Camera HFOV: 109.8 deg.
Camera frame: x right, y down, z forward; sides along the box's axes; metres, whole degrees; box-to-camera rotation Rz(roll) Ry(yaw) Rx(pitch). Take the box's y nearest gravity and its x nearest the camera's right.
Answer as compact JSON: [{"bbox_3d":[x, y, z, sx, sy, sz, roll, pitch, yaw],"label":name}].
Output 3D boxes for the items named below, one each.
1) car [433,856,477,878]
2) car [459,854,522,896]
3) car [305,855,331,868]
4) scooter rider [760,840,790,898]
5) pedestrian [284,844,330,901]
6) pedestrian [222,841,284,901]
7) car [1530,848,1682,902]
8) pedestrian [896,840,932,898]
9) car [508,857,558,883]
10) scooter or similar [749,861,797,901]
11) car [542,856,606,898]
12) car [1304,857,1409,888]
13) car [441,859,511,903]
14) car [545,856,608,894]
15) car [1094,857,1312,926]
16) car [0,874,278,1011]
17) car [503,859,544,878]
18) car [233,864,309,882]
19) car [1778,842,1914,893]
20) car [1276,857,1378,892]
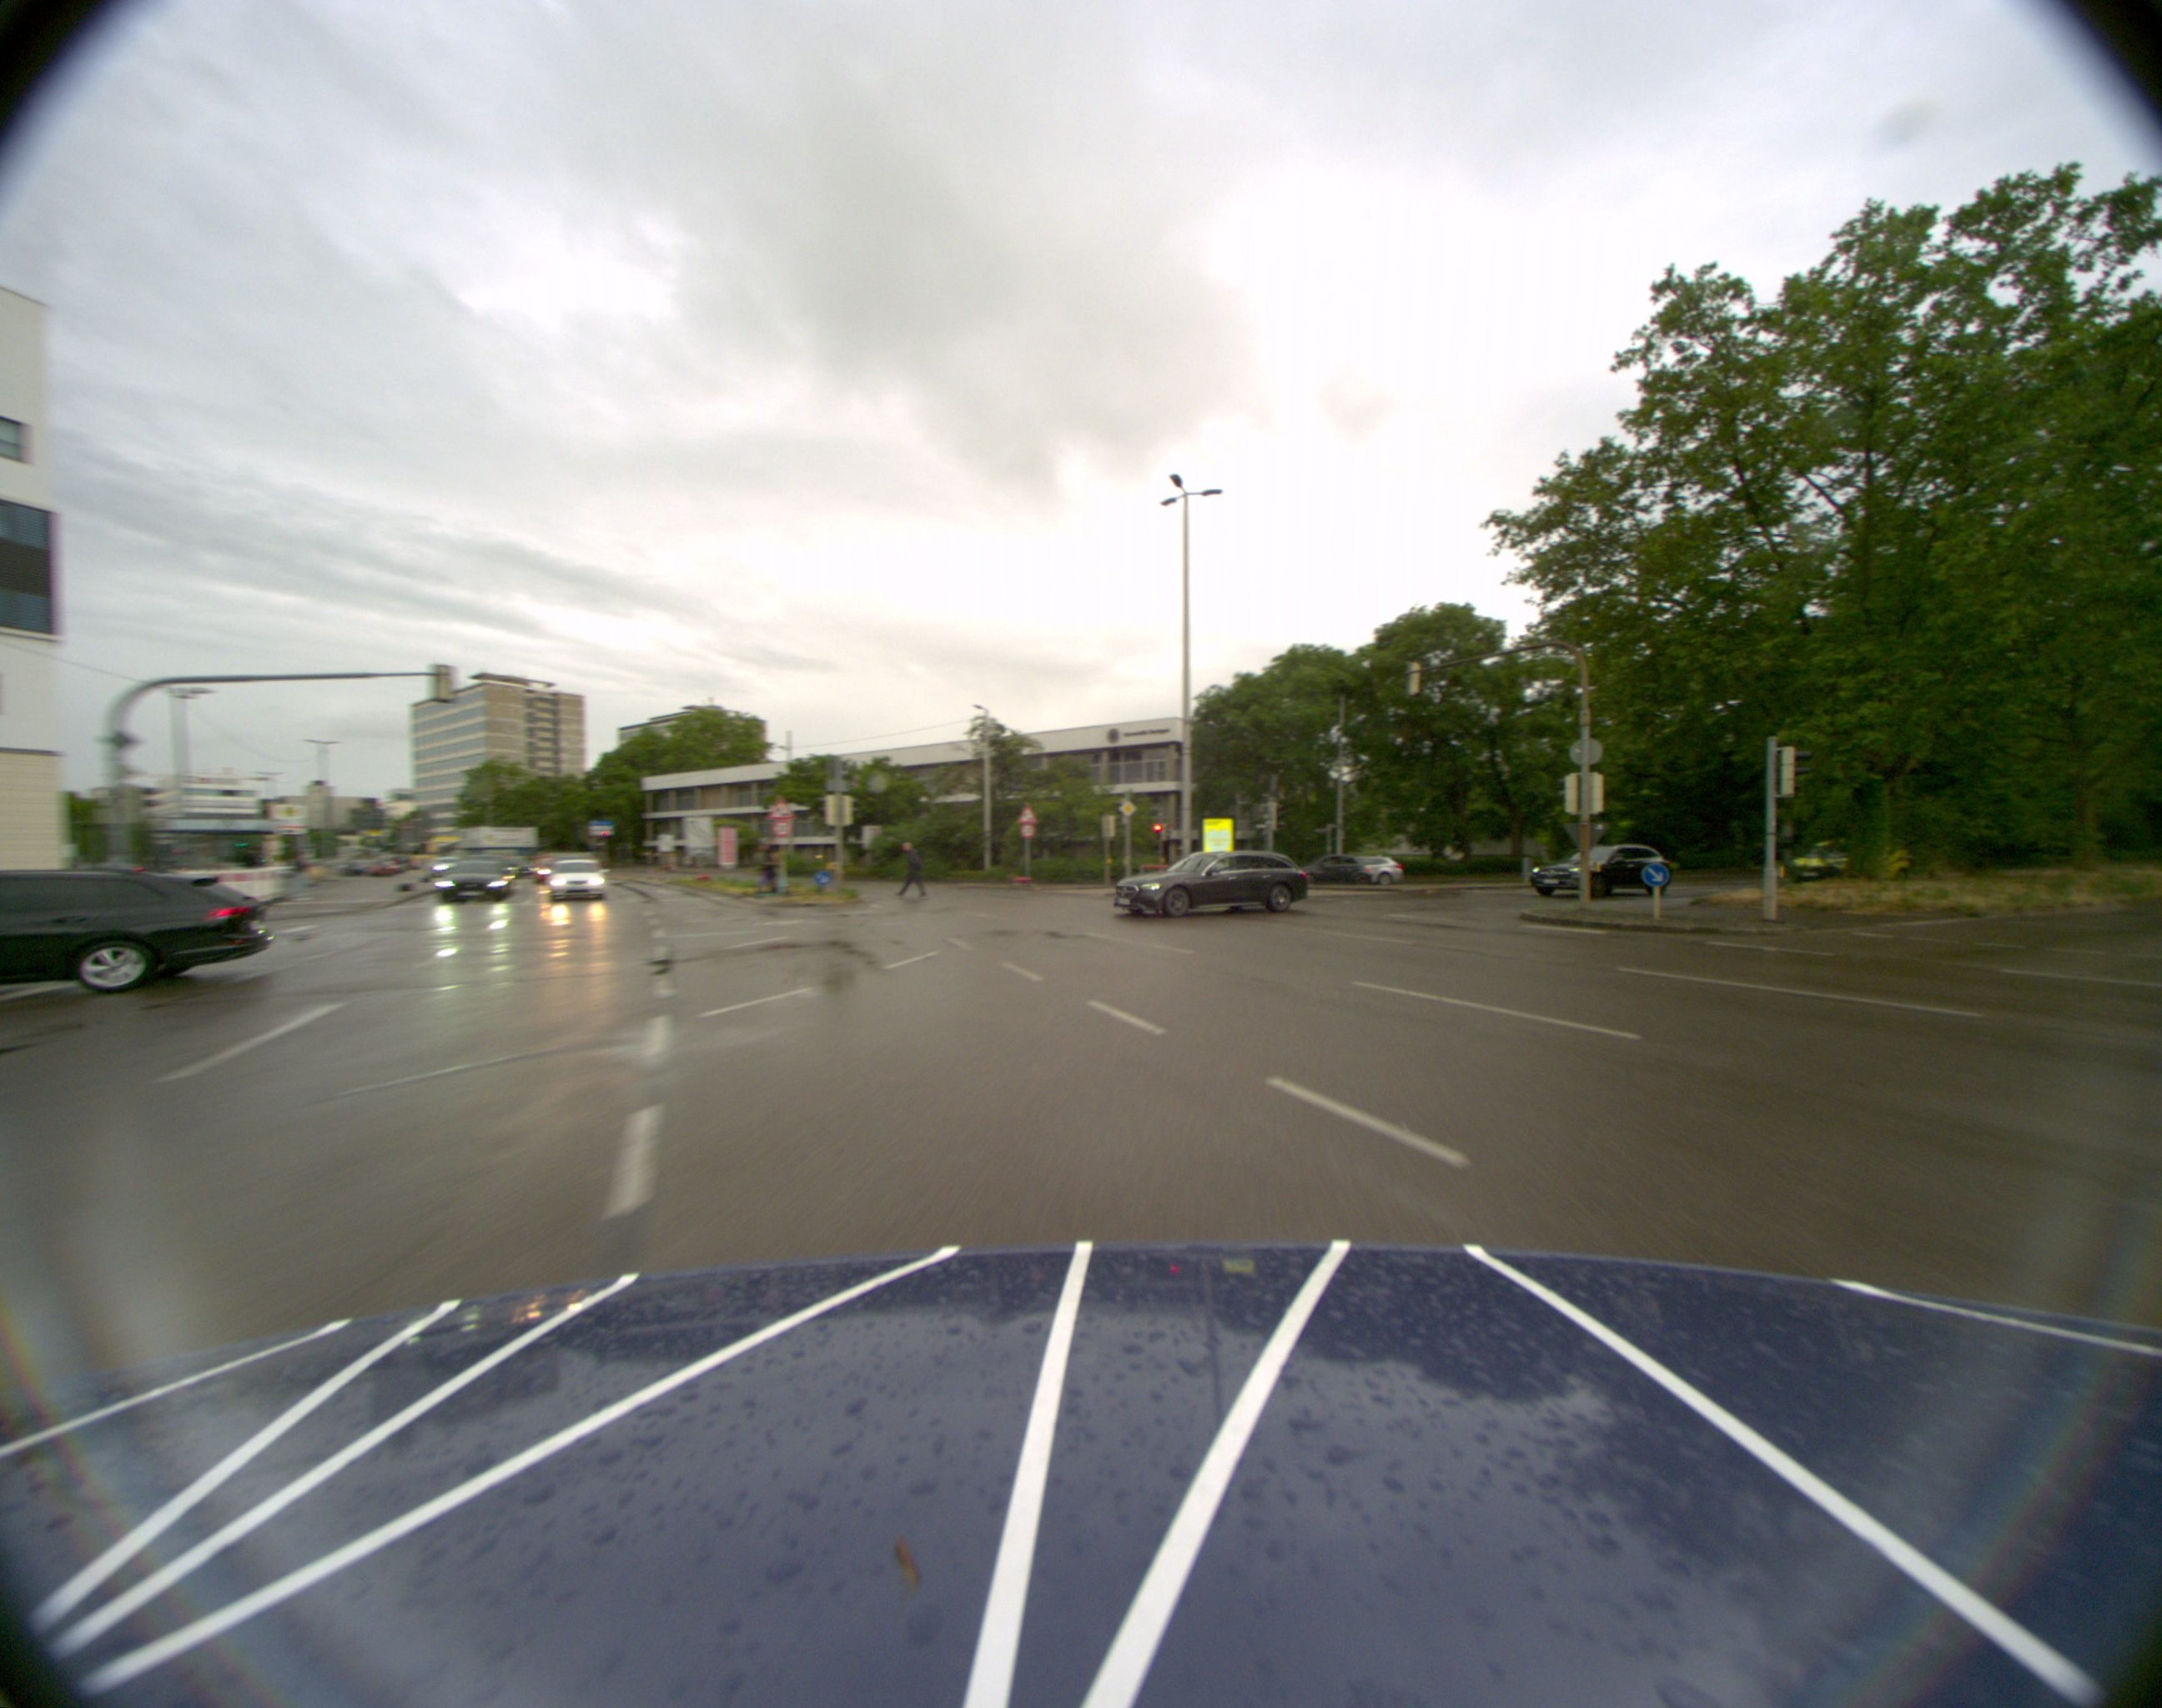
[{"bbox_3d":[-50.360,1.074,61.121,4.147,1.690,1.971,-2,-1,40],"label":"car"},{"bbox_3d":[-25.186,0.822,32.372,2.004,1.655,4.375,0,0,-39],"label":"car"},{"bbox_3d":[-107.465,1.018,106.998,4.674,1.696,1.802,0,0,36],"label":"car"},{"bbox_3d":[-10.097,0.490,25.080,0.633,1.872,0.724,-2,0,-42],"label":"scooter rider"},{"bbox_3d":[-25.309,0.595,24.868,0.825,1.829,0.952,-2,0,-33],"label":"pedestrian"},{"bbox_3d":[-27.636,0.553,25.374,0.954,1.924,1.004,-2,0,-12],"label":"pedestrian"},{"bbox_3d":[16.801,0.635,24.306,4.582,1.598,1.831,0,-1,-23],"label":"car"},{"bbox_3d":[-5.568,0.494,25.262,0.831,1.881,1.025,-2,0,-31],"label":"pedestrian"},{"bbox_3d":[-31.835,0.932,44.099,1.971,1.441,4.148,0,-1,-41],"label":"car"},{"bbox_3d":[-10.133,0.877,25.033,1.316,1.231,0.591,-2,0,-43],"label":"scooter or similar"},{"bbox_3d":[-18.907,0.852,28.251,1.801,1.435,3.990,0,-1,-36],"label":"car"},{"bbox_3d":[13.282,0.873,36.756,4.401,1.441,1.868,0,0,-1],"label":"car"},{"bbox_3d":[-21.664,0.944,27.310,1.801,1.435,3.990,0,-1,-36],"label":"car"},{"bbox_3d":[-21.986,0.866,33.047,1.971,1.548,4.517,0,0,-37],"label":"car"},{"bbox_3d":[2.938,0.803,18.061,4.937,1.437,1.881,0,0,-26],"label":"car"},{"bbox_3d":[-12.694,0.994,8.744,4.521,1.457,1.671,1,0,-37],"label":"car"},{"bbox_3d":[-42.297,1.111,57.596,1.971,1.441,4.148,0,-1,-44],"label":"car"},{"bbox_3d":[-70.535,1.655,66.212,4.066,1.548,1.964,-1,-1,-16],"label":"car"},{"bbox_3d":[29.711,0.523,29.510,4.746,1.865,1.883,0,-1,-20],"label":"car"},{"bbox_3d":[10.823,0.895,33.637,3.995,1.441,1.869,-1,0,4],"label":"car"}]
